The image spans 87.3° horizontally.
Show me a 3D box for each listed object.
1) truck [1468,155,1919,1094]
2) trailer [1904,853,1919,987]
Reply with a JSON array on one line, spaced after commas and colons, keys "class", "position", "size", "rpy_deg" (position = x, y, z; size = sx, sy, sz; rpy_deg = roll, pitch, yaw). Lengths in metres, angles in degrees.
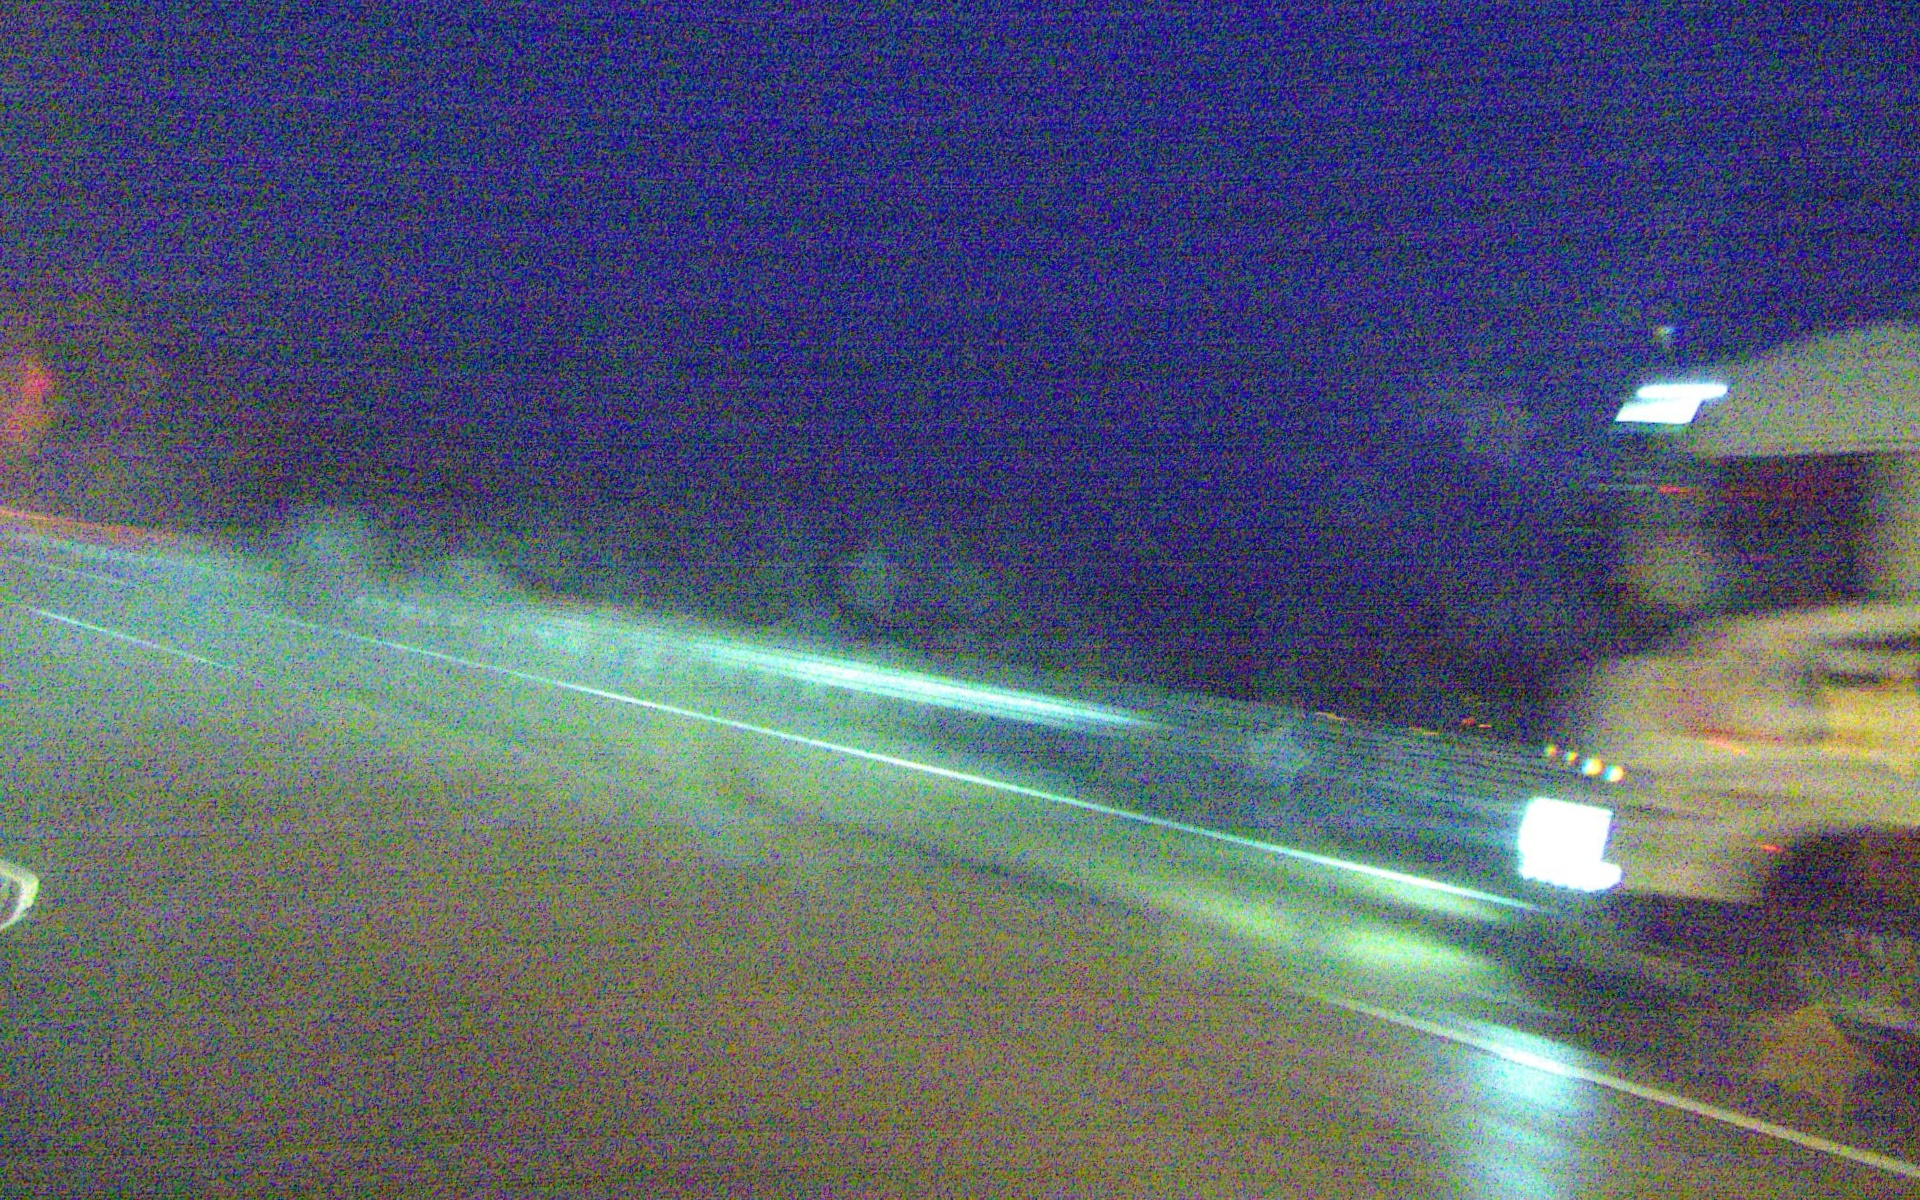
[{"class": "truck", "position": [6.180, 0.314, 5.007], "size": [5.930, 4.160, 2.906], "rpy_deg": [7, 1, 31]}, {"class": "trailer", "position": [11.737, 1.019, 1.605], "size": [14.245, 4.160, 2.906], "rpy_deg": [7, 1, 31]}]
